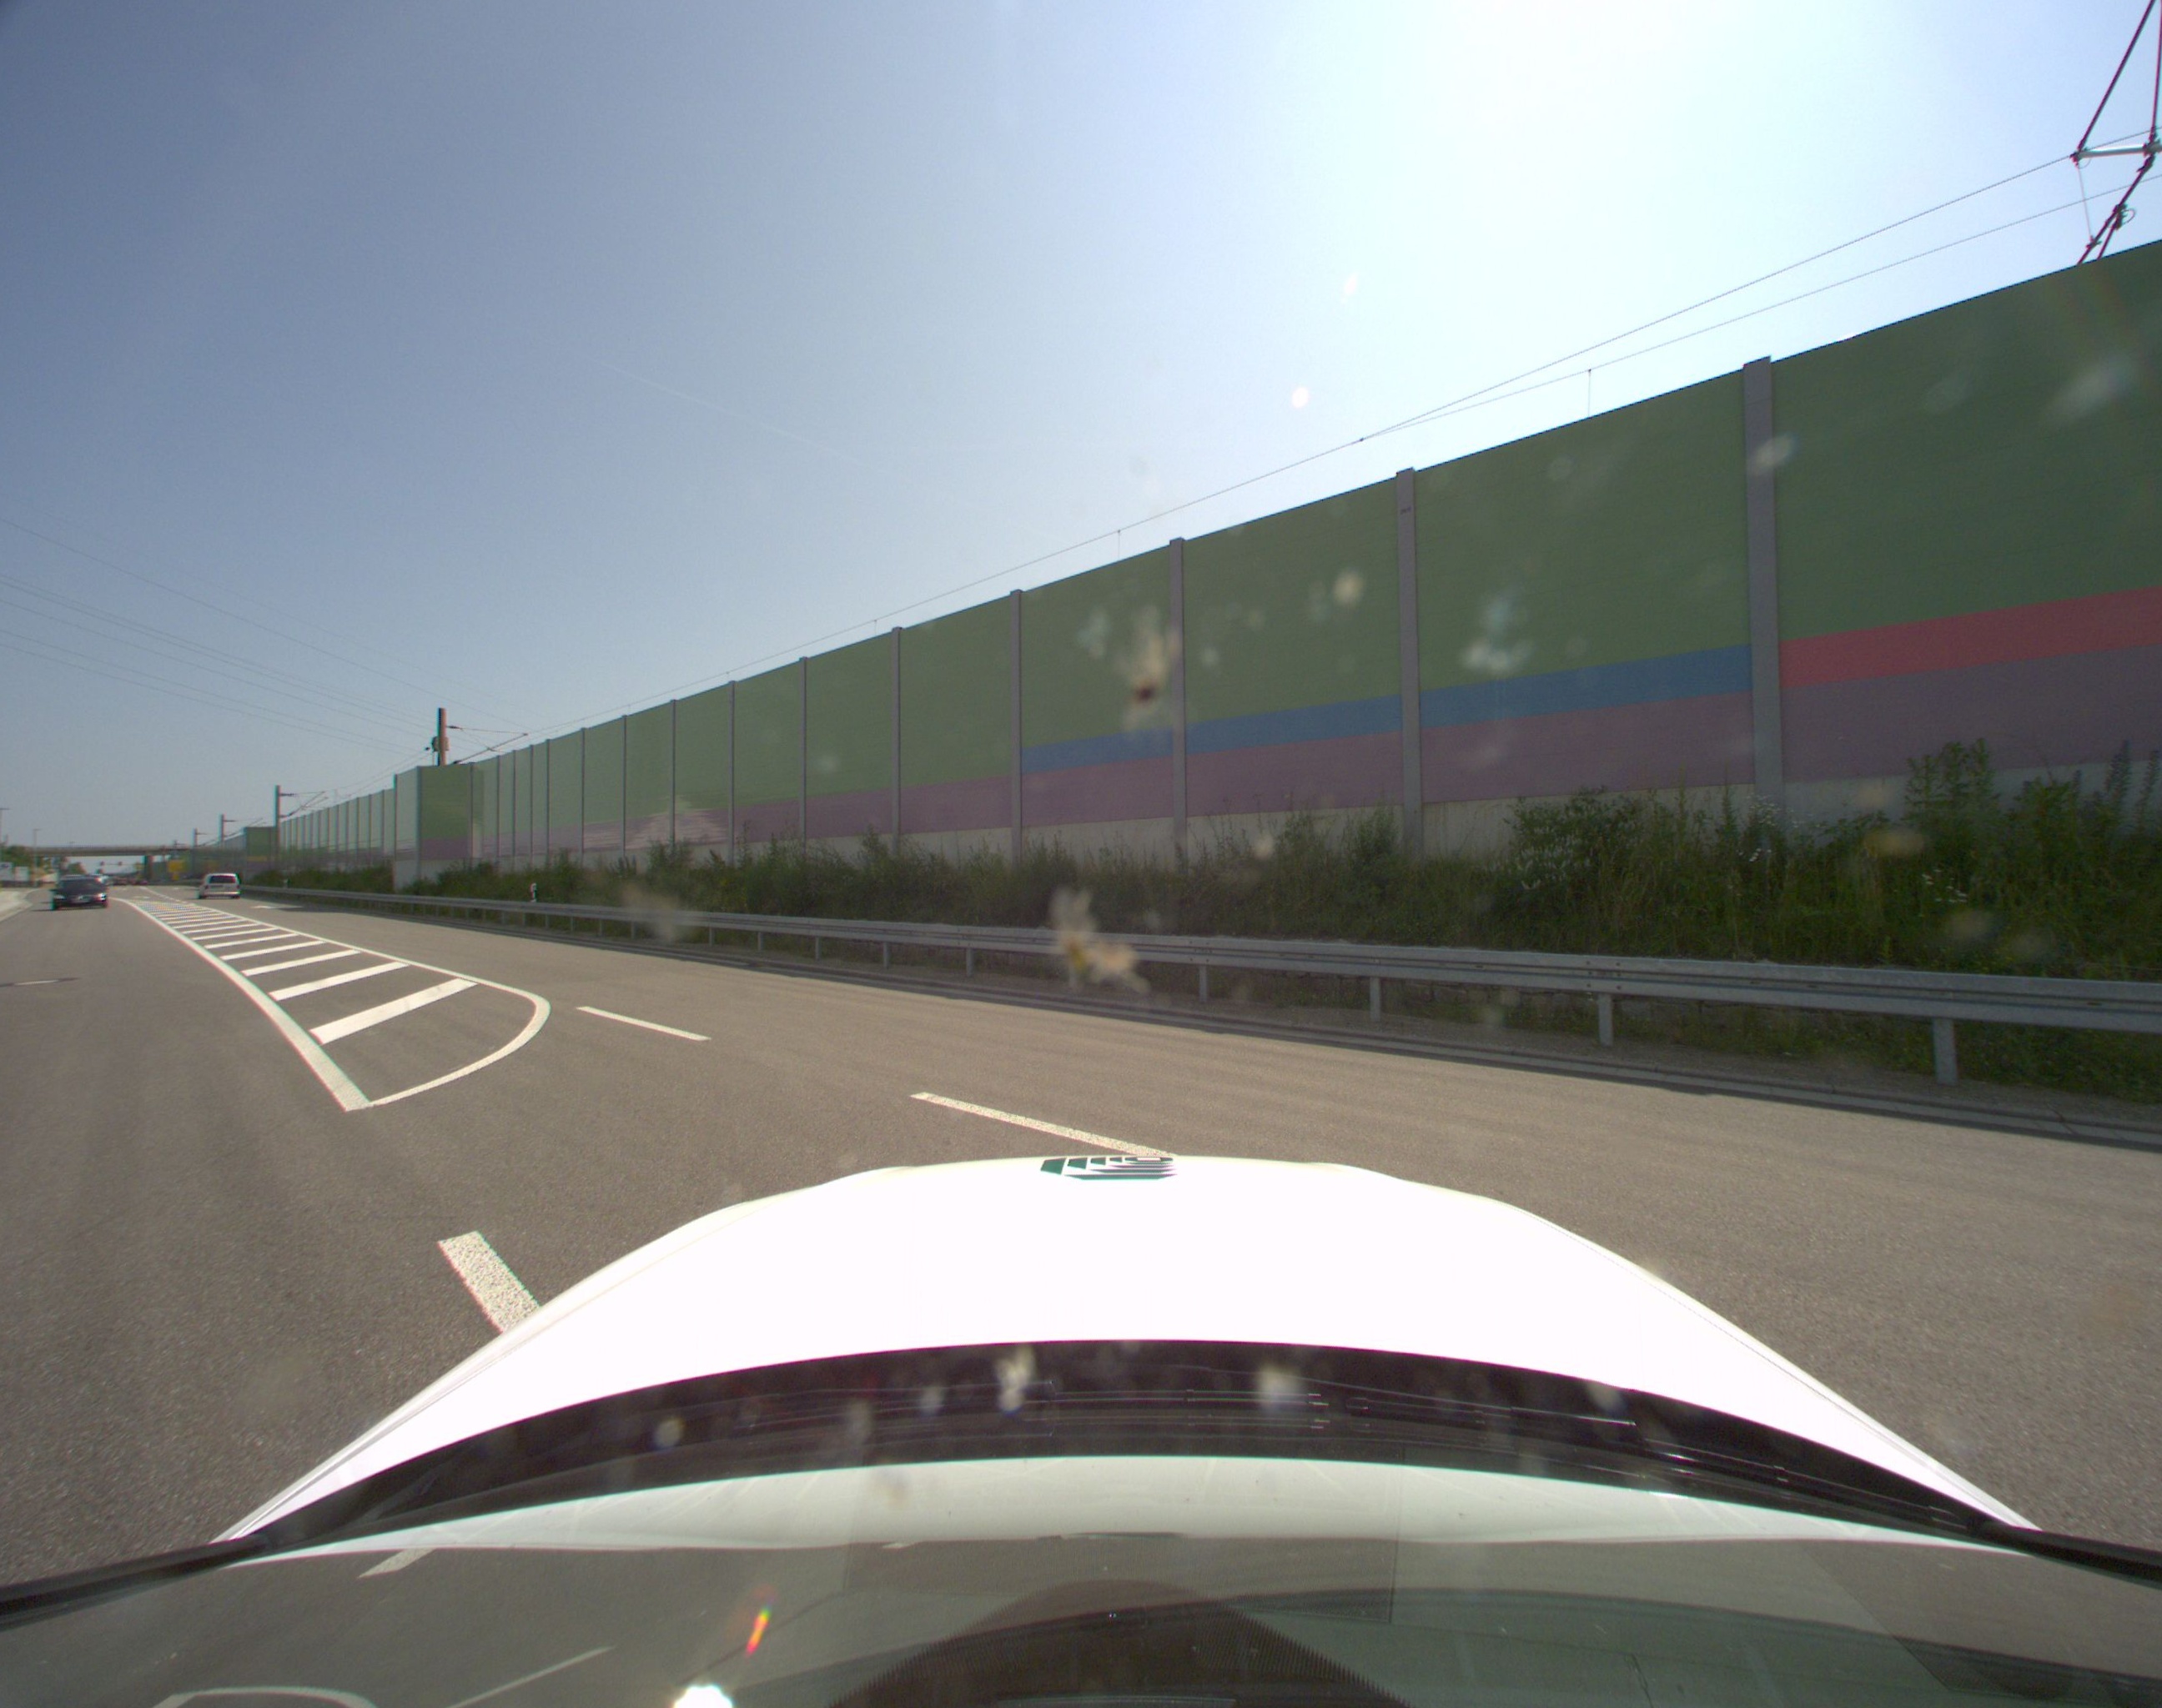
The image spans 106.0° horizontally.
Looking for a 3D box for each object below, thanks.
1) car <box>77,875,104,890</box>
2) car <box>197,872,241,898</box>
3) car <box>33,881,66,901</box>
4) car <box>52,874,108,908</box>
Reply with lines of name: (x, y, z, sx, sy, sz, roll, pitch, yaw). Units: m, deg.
car: (-105.303, 3.036, 86.565, 4.204, 1.466, 1.781, -1, 1, 39)
car: (-60.918, 2.192, 57.554, 3.949, 1.757, 2.012, -2, -1, 41)
car: (-106.748, 3.787, 84.309, 3.948, 2.014, 2.012, -2, -1, 39)
car: (-52.283, 1.899, 42.571, 3.747, 1.593, 1.758, -1, 1, 40)
